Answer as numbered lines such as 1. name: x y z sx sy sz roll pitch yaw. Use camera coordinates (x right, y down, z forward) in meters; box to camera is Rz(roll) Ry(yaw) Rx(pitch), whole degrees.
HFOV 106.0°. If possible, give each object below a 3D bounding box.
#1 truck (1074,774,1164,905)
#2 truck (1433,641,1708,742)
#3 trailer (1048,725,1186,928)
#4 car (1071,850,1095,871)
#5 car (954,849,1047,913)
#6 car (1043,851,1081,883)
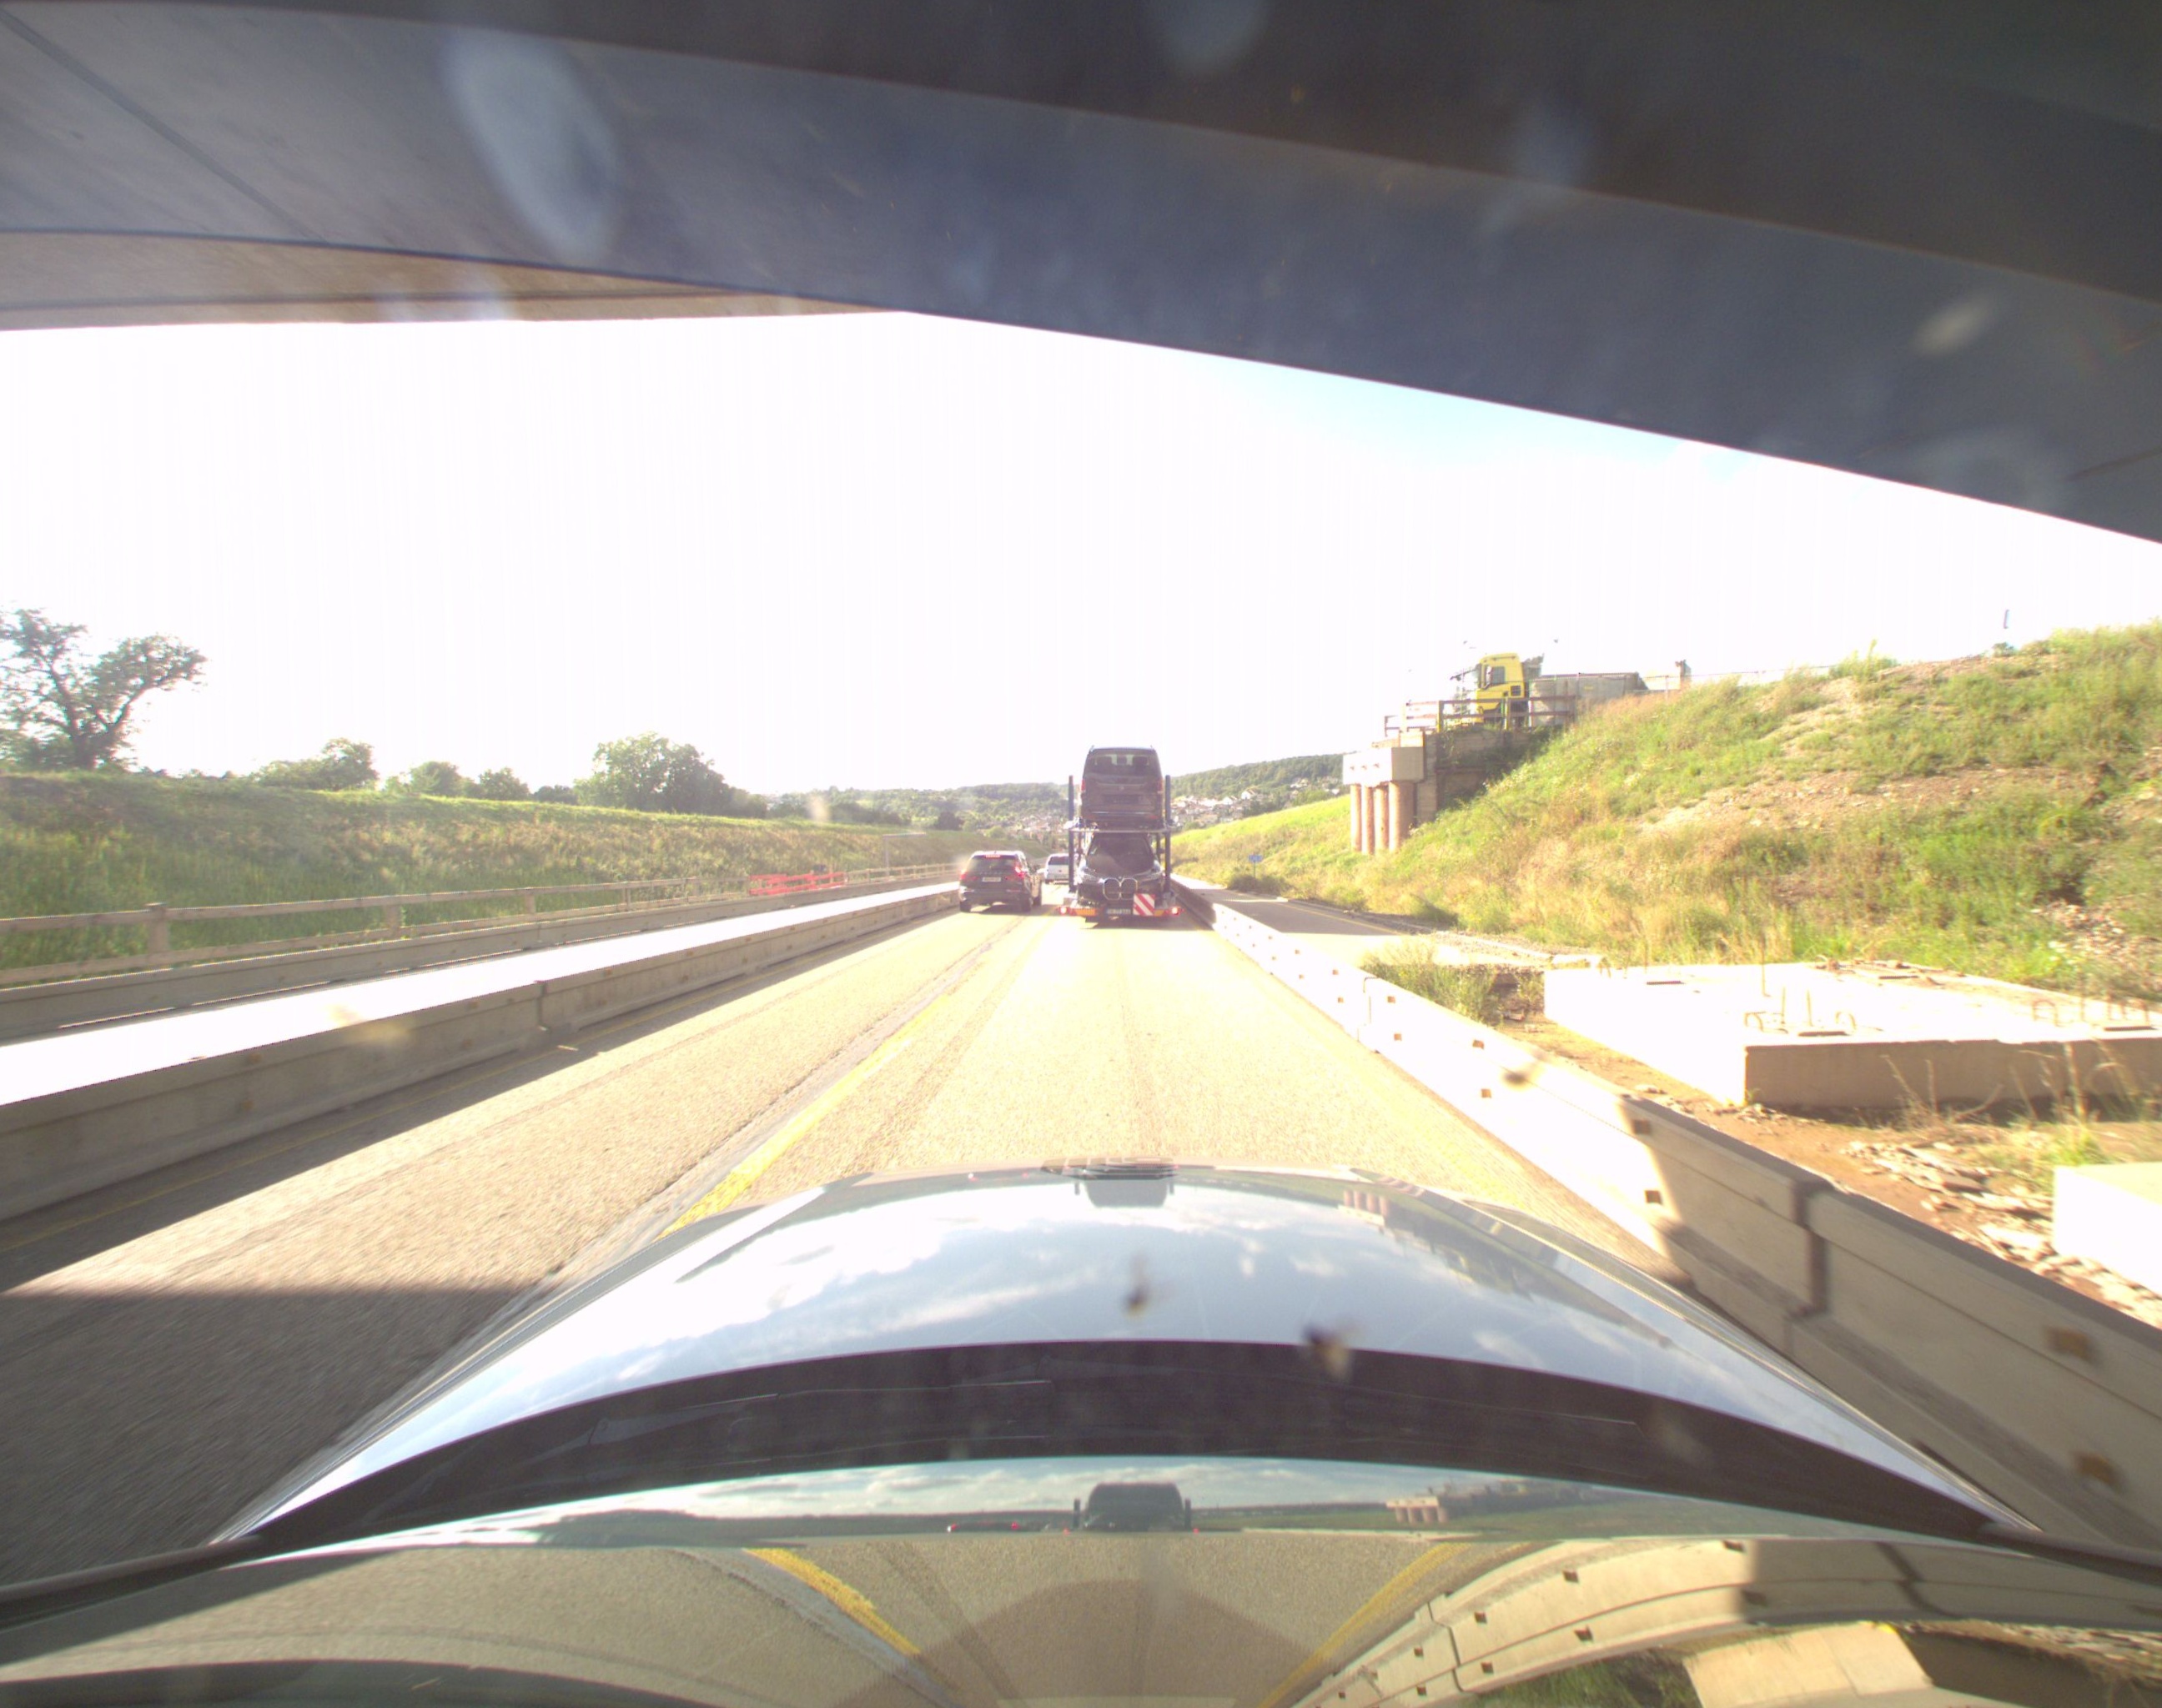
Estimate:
1. truck: 1.307 -0.445 27.776 2.667 3.922 6.032 -1 0 3
2. truck: 19.383 -6.430 32.677 9.230 3.228 2.960 -1 0 1
3. trailer: 1.021 -0.540 22.087 2.697 4.029 11.427 -1 0 3
4. car: 0.171 0.497 65.318 1.790 1.530 4.295 -1 0 1
5. car: -2.165 0.676 23.223 1.986 1.625 4.753 0 0 2
6. car: -0.960 0.680 43.953 1.789 1.596 4.744 -1 0 1
